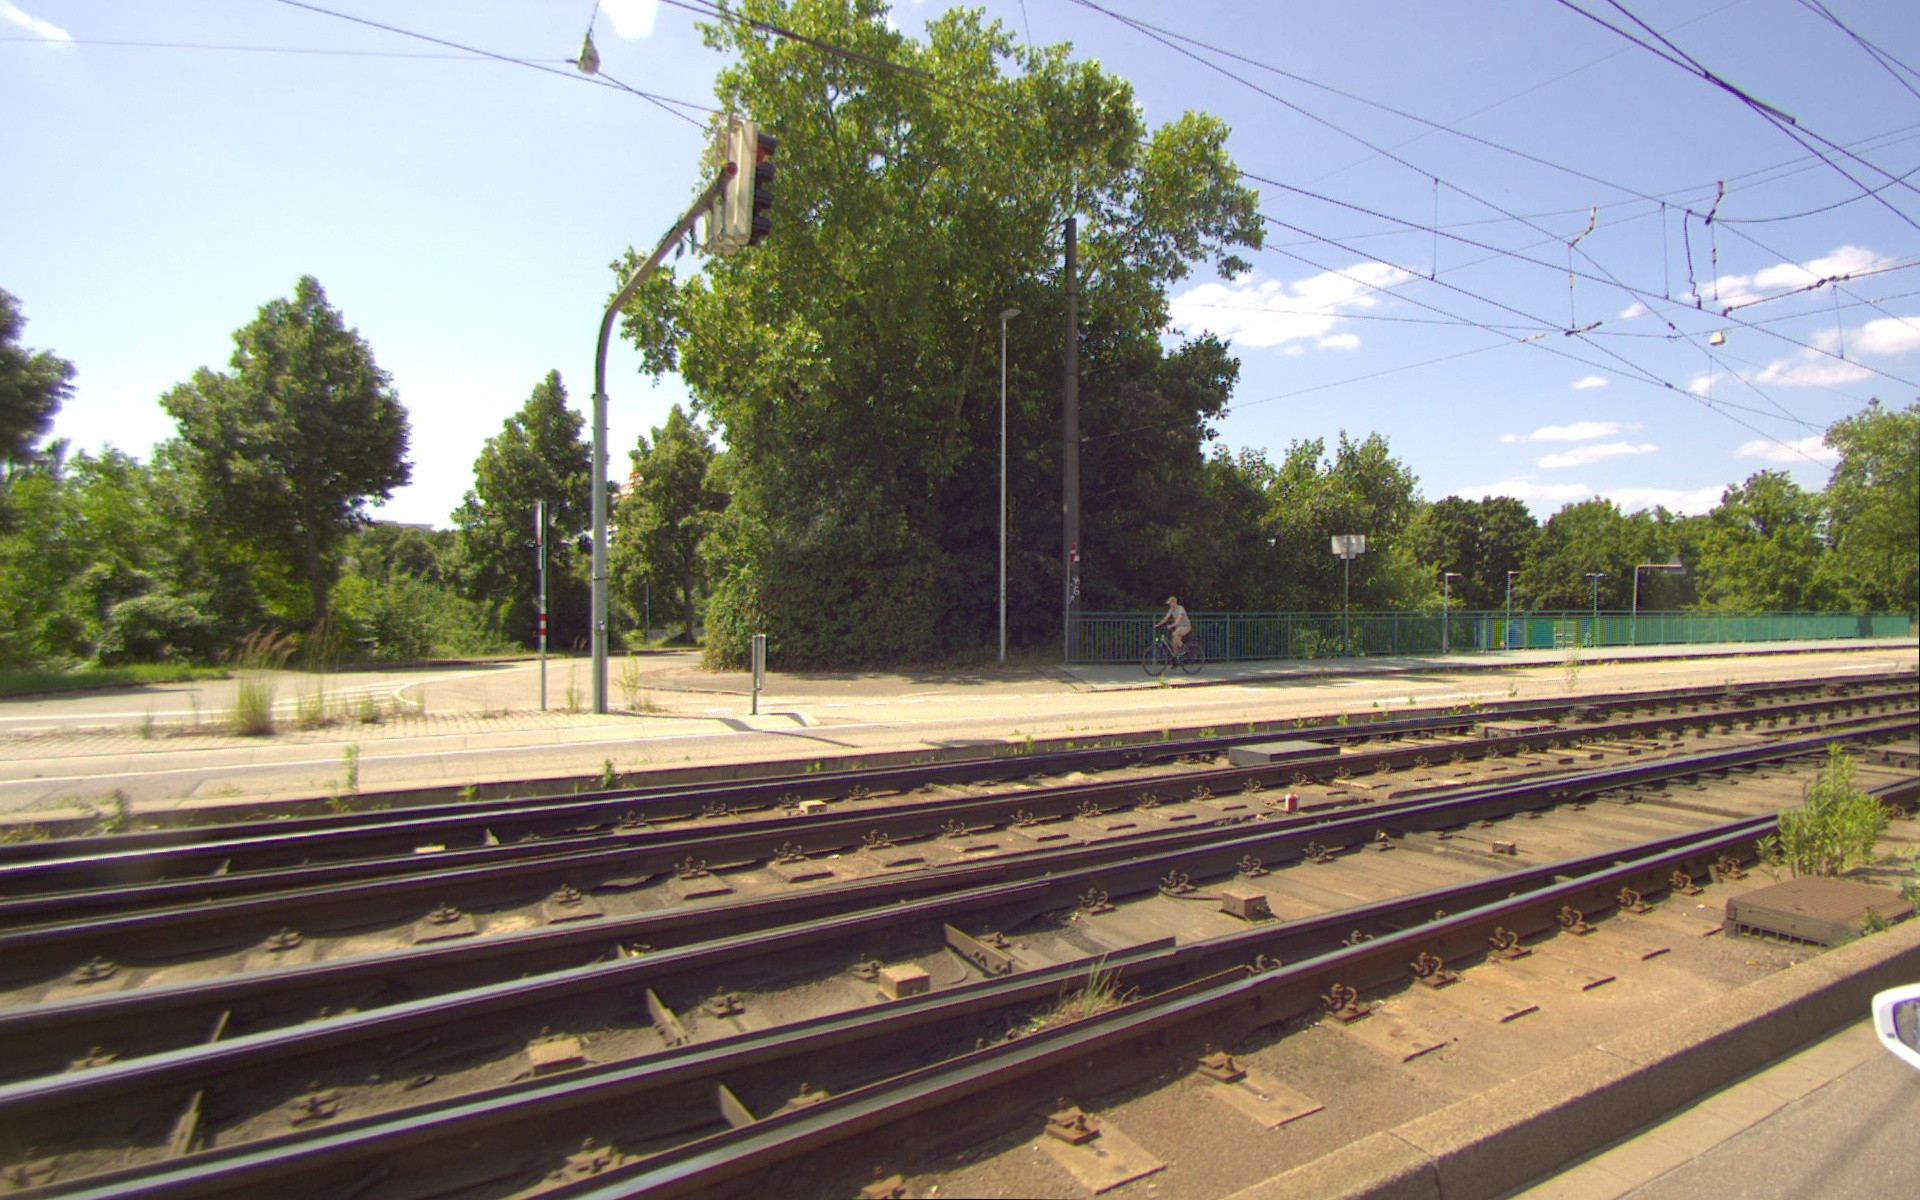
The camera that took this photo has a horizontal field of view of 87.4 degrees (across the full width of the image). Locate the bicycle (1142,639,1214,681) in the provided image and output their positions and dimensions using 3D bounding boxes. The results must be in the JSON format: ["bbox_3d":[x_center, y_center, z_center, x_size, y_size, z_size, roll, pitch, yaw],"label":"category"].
[{"bbox_3d":[4.976,1.347,22.871,1.721,0.880,0.467,0,0,-28],"label":"bicycle"}]

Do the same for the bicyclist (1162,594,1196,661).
[{"bbox_3d":[4.987,0.618,22.876,0.625,1.493,0.454,0,0,-28],"label":"bicyclist"}]
